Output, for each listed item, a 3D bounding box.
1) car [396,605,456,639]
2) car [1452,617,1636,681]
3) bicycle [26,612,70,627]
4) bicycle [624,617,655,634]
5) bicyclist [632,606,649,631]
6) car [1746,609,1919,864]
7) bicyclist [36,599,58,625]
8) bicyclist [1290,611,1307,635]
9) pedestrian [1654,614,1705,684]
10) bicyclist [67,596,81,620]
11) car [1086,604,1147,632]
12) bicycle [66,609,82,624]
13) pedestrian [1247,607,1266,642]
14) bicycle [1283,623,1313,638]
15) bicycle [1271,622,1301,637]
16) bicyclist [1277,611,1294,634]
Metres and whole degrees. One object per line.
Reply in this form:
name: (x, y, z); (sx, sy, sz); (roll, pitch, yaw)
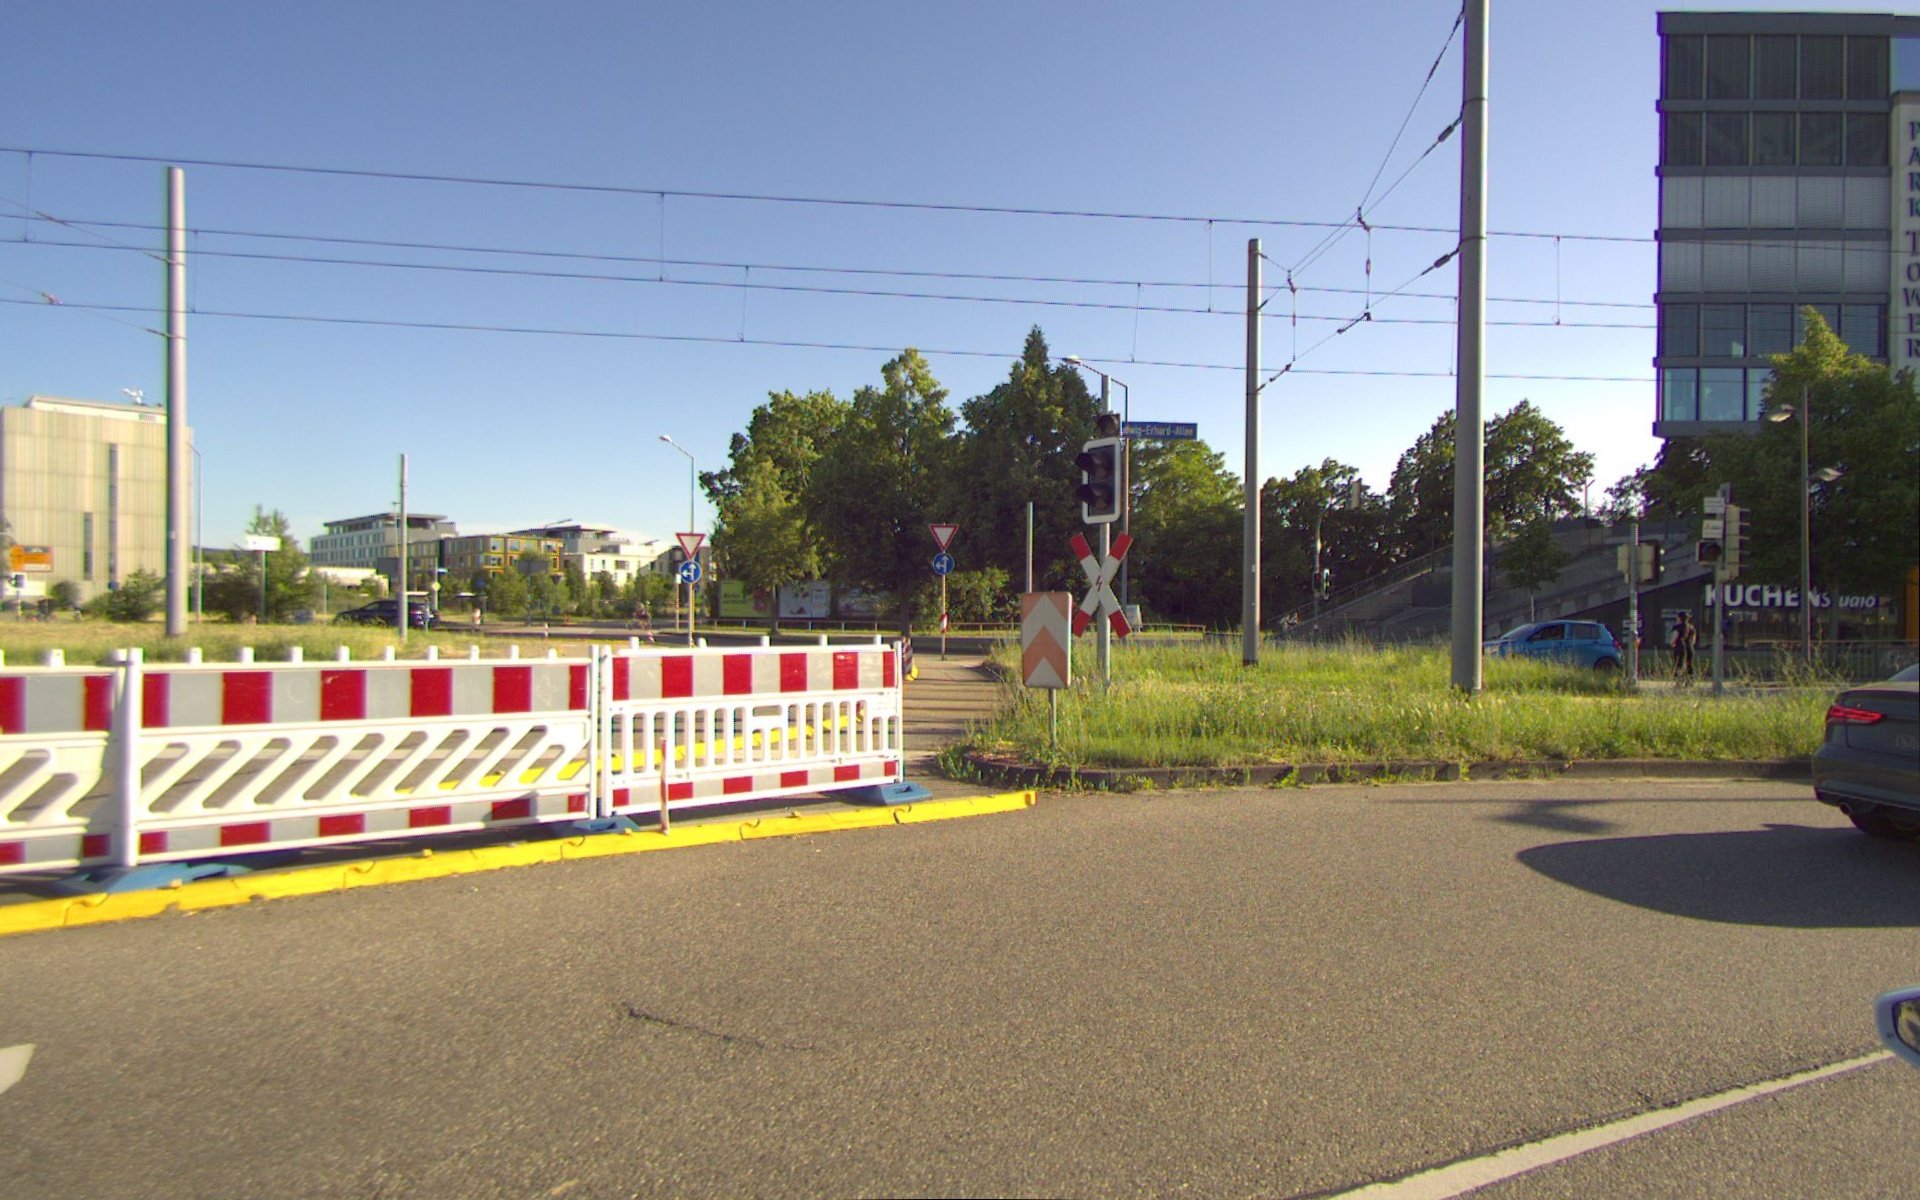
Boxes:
car: (-26.260, 1.042, 49.374); (1.723, 1.507, 4.438); (1, 0, -40)
car: (15.979, 1.308, 27.654); (3.896, 1.596, 1.941); (1, 0, 4)
bicycle: (-53.755, 1.162, 59.227); (1.874, 0.864, 0.610); (1, -1, -42)
bicycle: (-20.059, 1.595, 62.916); (1.833, 1.025, 0.587); (1, 0, 15)
bicyclist: (-20.002, 1.156, 62.890); (0.741, 1.487, 0.587); (1, 0, 15)
car: (7.375, 0.862, 6.177); (4.286, 1.398, 1.760); (3, 0, -15)
bicyclist: (-53.790, 0.692, 59.190); (0.918, 1.537, 0.610); (0, 0, -41)
bicyclist: (20.565, 1.382, 61.033); (0.709, 1.411, 0.613); (0, 0, -26)
pedestrian: (15.476, 1.045, 21.616); (0.664, 1.486, 0.556); (1, 1, -2)
bicyclist: (-58.778, 0.523, 66.633); (0.657, 1.601, 0.826); (0, 0, -38)
car: (10.343, 1.173, 66.430); (1.826, 1.830, 3.695); (0, -1, -44)
bicycle: (-58.796, 1.079, 66.659); (0.656, 1.001, 2.238); (0, 0, -38)
pedestrian: (14.398, 1.175, 48.765); (0.746, 1.651, 0.886); (0, 0, 8)
bicycle: (20.547, 1.838, 61.013); (1.864, 0.864, 0.613); (0, 0, -26)
bicycle: (20.078, 1.815, 61.890); (1.864, 0.864, 0.613); (0, 0, -26)
bicyclist: (20.051, 1.359, 61.872); (0.826, 1.411, 0.613); (0, 0, -26)
